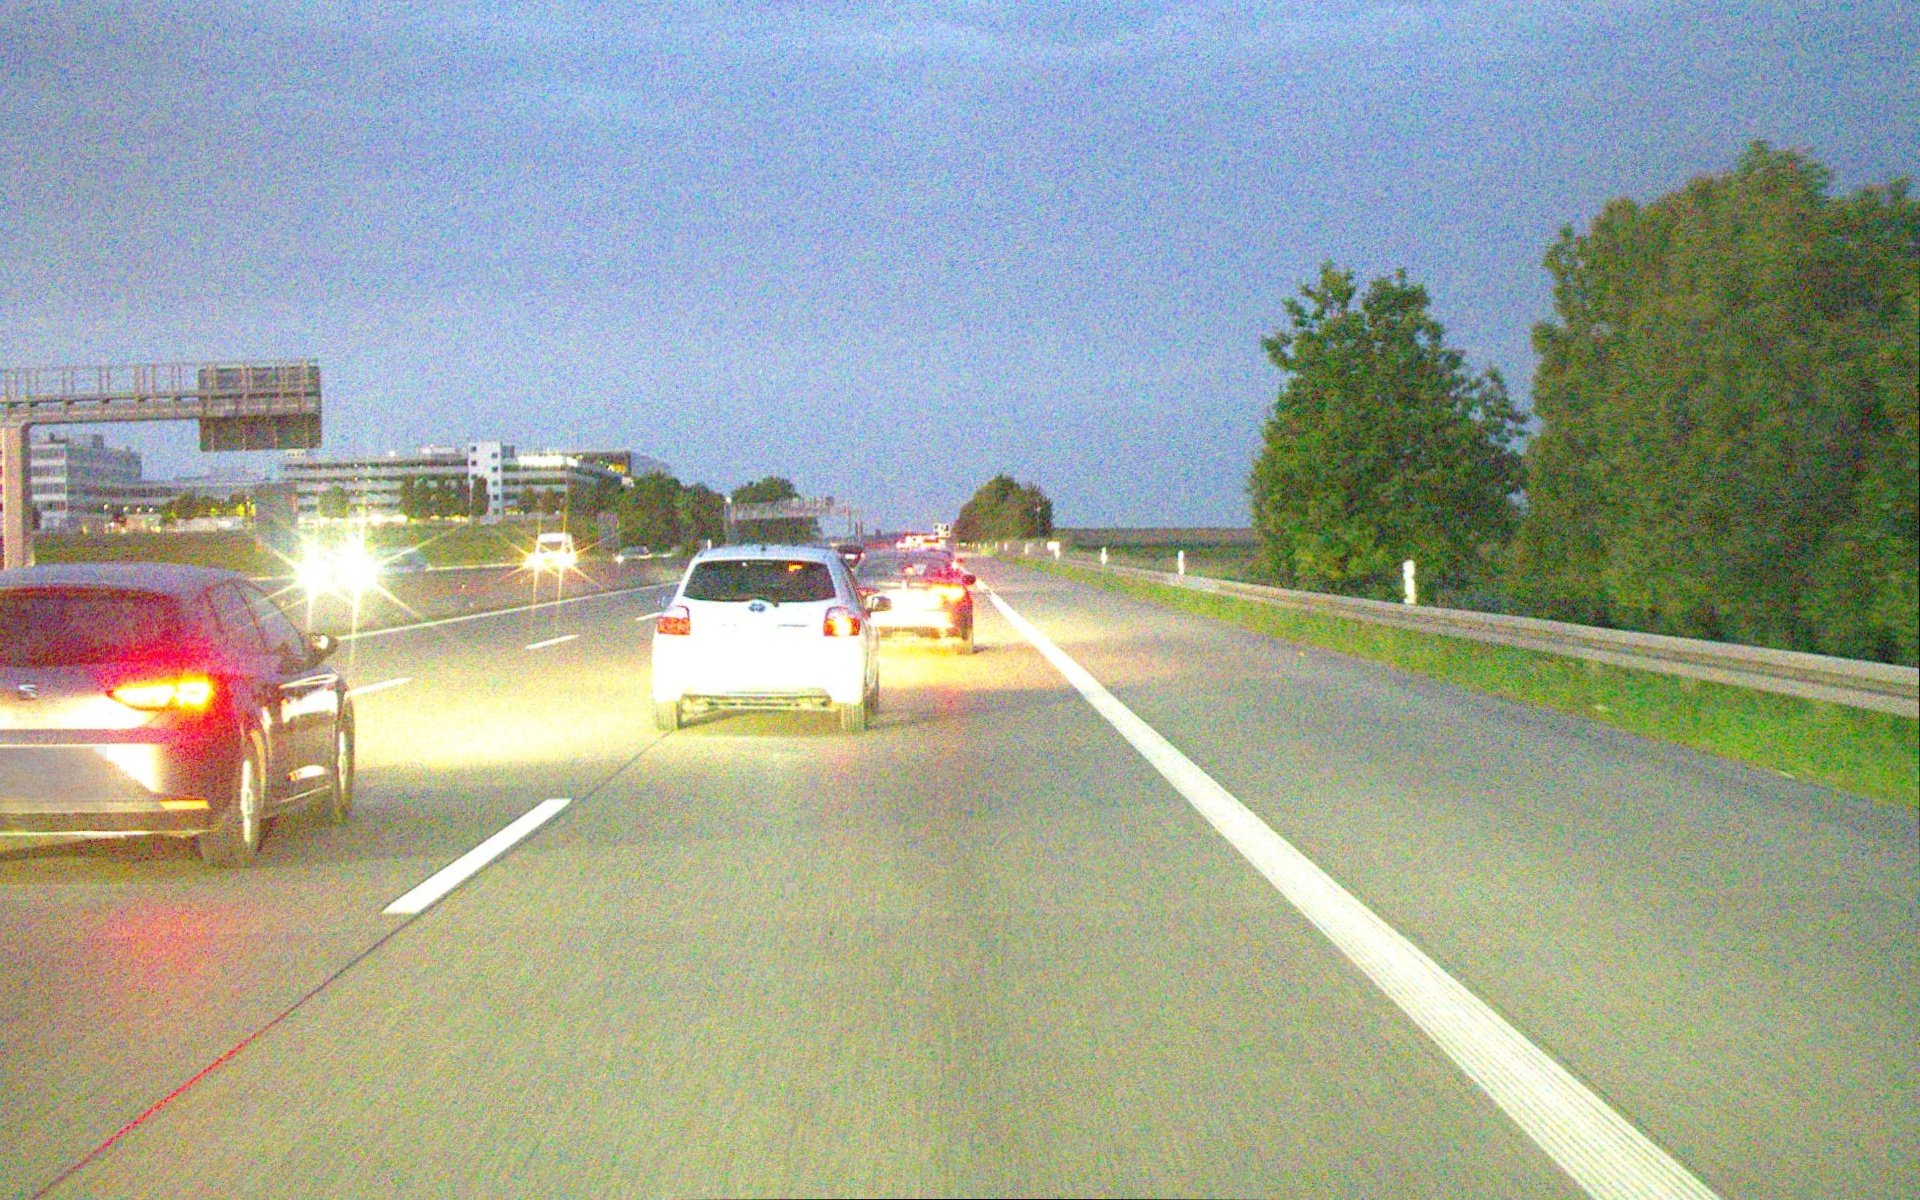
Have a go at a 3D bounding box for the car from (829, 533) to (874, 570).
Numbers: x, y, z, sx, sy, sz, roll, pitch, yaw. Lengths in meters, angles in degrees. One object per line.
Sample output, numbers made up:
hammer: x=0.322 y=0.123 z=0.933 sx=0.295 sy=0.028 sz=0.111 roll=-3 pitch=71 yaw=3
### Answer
car: x=-5.544 y=-2.468 z=175.682 sx=2.199 sy=1.873 sz=4.000 roll=1 pitch=0 yaw=-1

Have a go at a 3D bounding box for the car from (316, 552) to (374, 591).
car: x=-20.626 y=-0.962 z=115.433 sx=1.363 sy=1.257 sz=3.507 roll=1 pitch=0 yaw=-1

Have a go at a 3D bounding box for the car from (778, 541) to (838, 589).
car: x=-4.987 y=-1.147 z=113.175 sx=1.880 sy=1.547 sz=4.000 roll=1 pitch=0 yaw=-1

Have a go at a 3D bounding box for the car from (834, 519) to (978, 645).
car: x=-0.739 y=-0.256 z=47.457 sx=1.880 sy=1.637 sz=4.000 roll=1 pitch=0 yaw=-1

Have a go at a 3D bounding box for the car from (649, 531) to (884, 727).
car: x=-1.574 y=0.210 z=29.334 sx=1.744 sy=1.519 sz=4.414 roll=1 pitch=0 yaw=0

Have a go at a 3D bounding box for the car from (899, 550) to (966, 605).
car: x=-0.832 y=-0.661 z=101.165 sx=1.880 sy=1.547 sz=4.000 roll=1 pitch=0 yaw=-1

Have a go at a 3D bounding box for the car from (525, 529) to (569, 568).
car: x=-25.384 y=-3.150 z=211.404 sx=1.993 sy=2.379 sz=5.836 roll=1 pitch=0 yaw=0

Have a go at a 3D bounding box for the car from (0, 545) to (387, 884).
car: x=-4.121 y=0.476 z=17.347 sx=1.722 sy=1.466 sz=4.726 roll=1 pitch=0 yaw=-1
